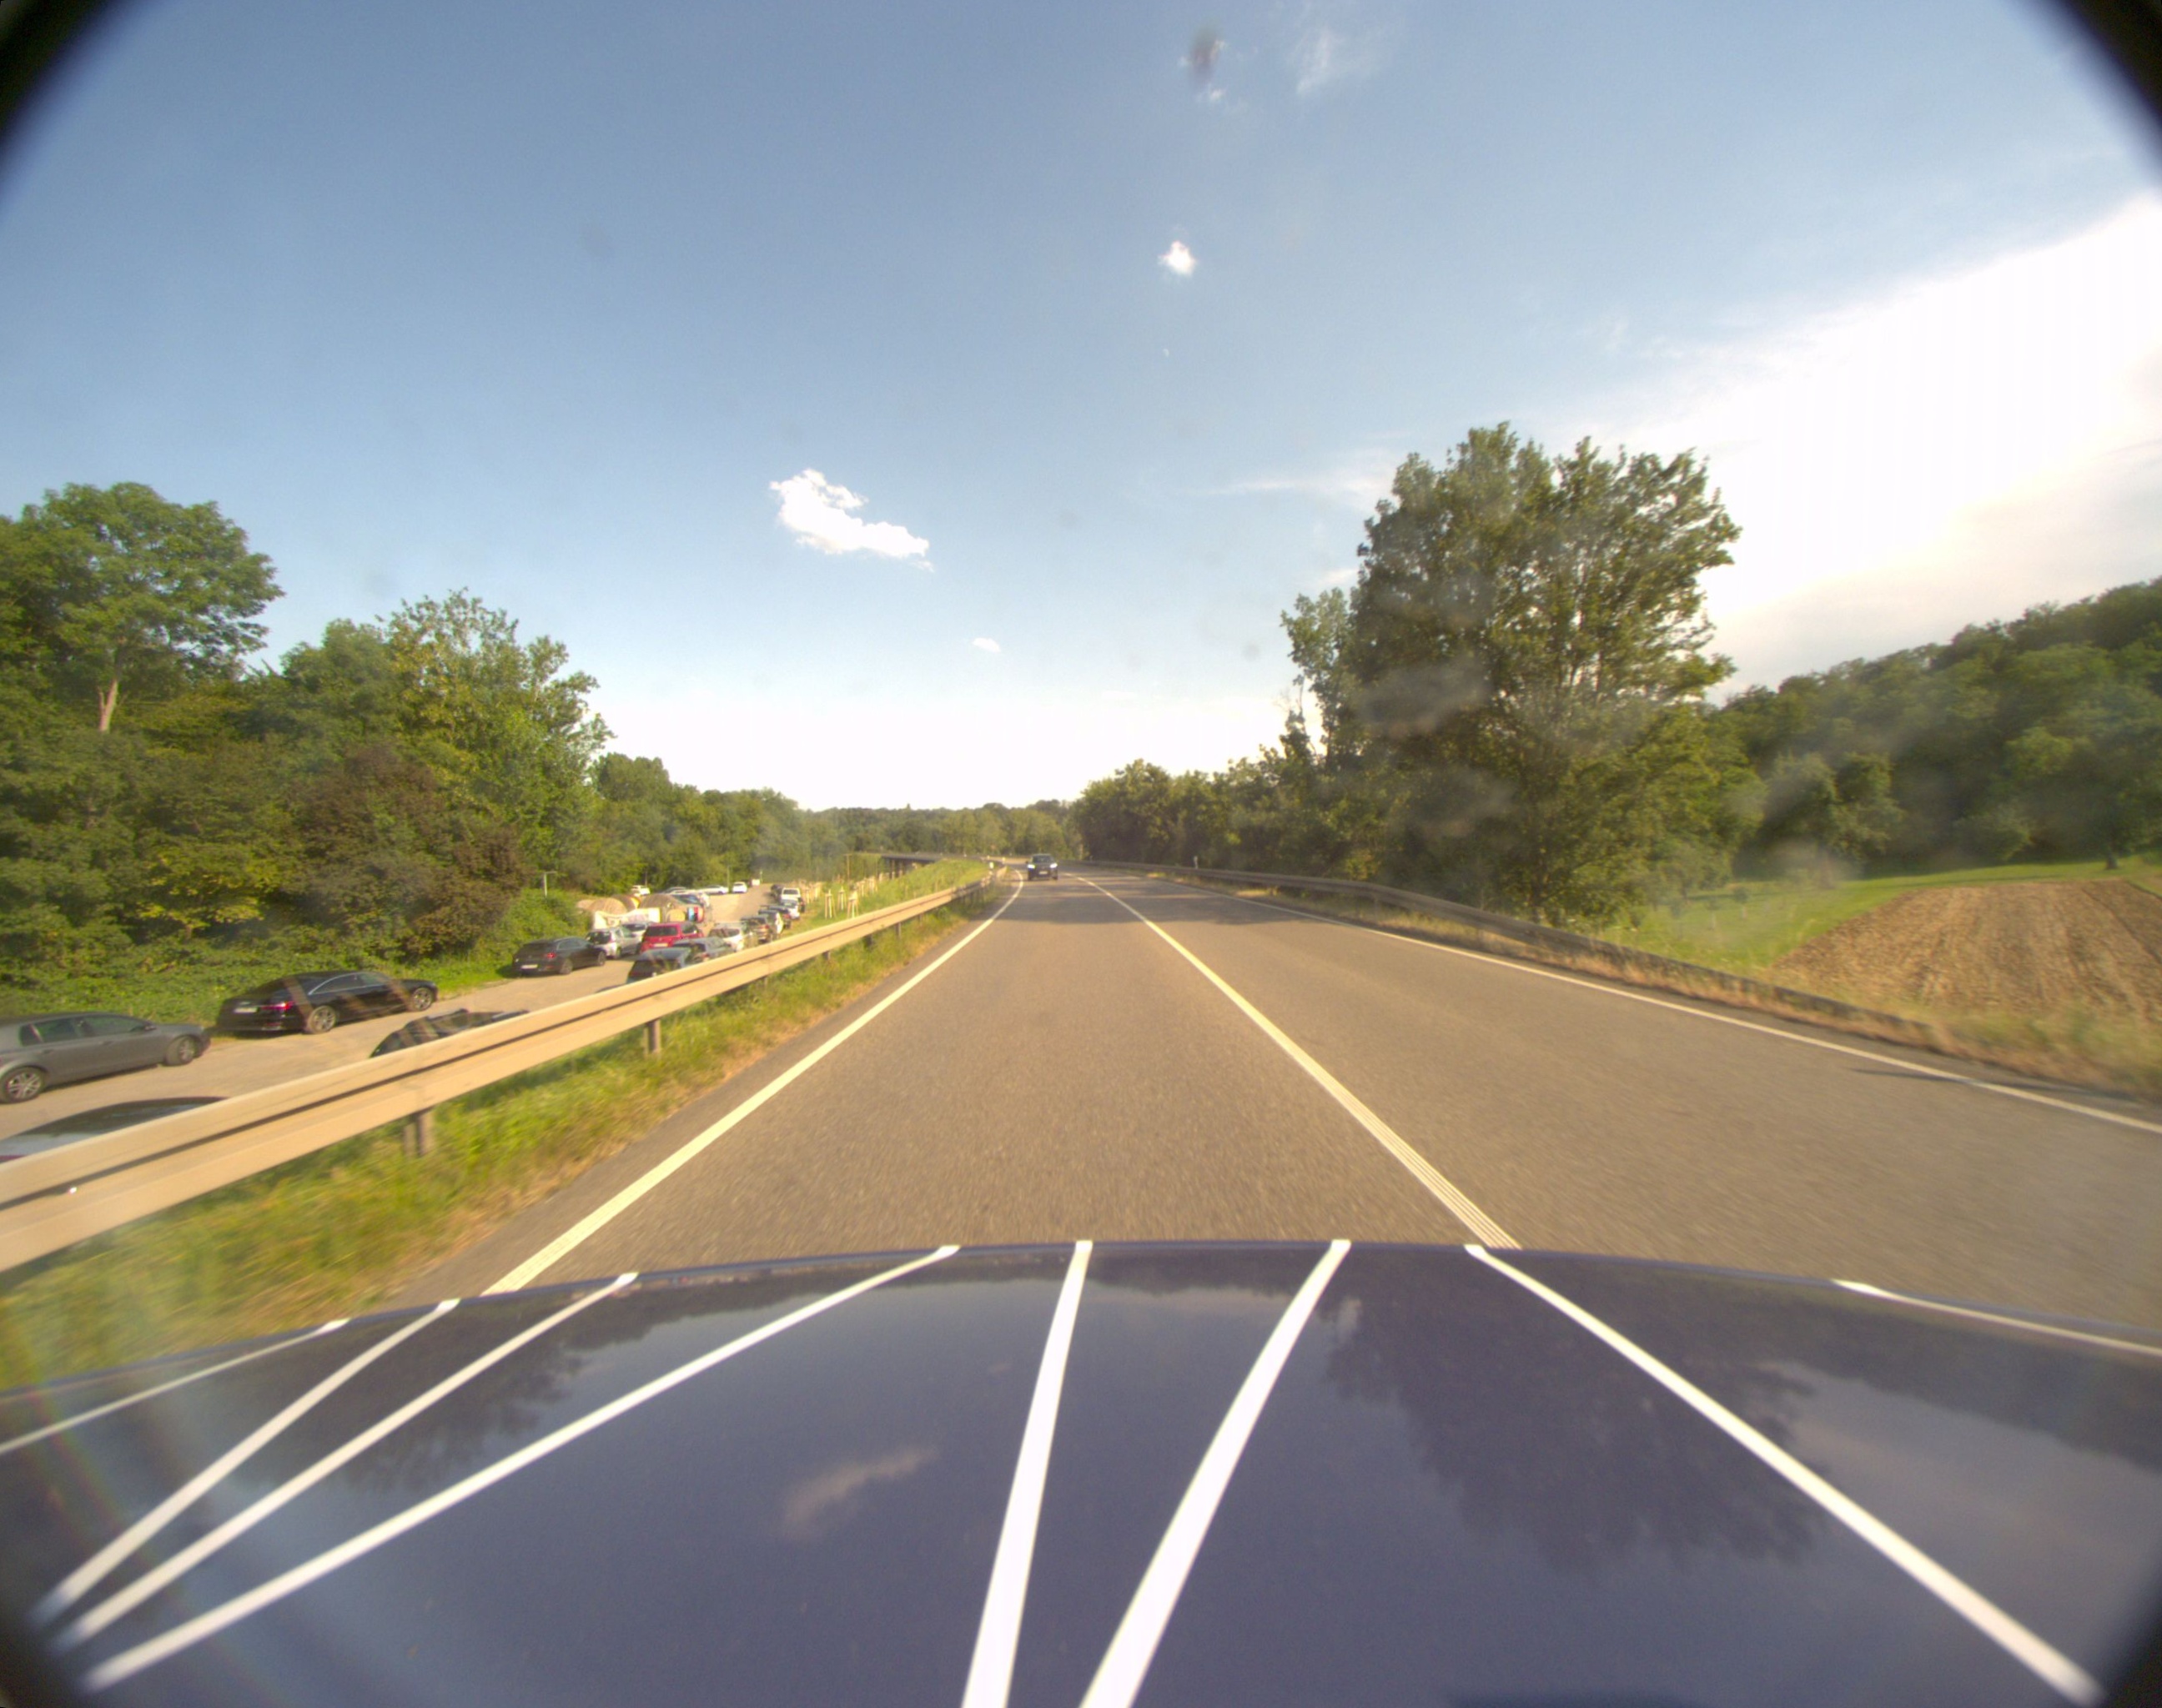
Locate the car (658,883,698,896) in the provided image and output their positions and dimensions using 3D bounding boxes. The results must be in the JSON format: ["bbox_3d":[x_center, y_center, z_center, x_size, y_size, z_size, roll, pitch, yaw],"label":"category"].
[{"bbox_3d":[-49.429,4.376,93.244,4.253,1.447,1.614,0,0,-29],"label":"car"}]

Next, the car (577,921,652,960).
[{"bbox_3d":[-22.248,4.116,36.397,1.707,1.390,3.941,2,0,-11],"label":"car"}]

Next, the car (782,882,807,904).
[{"bbox_3d":[-29.520,4.019,78.232,2.129,2.005,5.369,2,-2,-23],"label":"car"}]

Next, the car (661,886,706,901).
[{"bbox_3d":[-46.269,4.589,88.480,4.423,1.447,1.730,-1,0,-33],"label":"car"}]

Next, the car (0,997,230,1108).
[{"bbox_3d":[-20.096,3.873,15.012,1.704,1.390,4.103,2,-2,5],"label":"car"}]

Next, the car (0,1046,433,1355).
[{"bbox_3d":[-10.362,3.543,8.755,1.897,1.550,4.781,2,-2,-5],"label":"car"}]

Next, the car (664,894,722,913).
[{"bbox_3d":[-34.683,4.379,68.054,4.246,1.480,1.833,-2,-2,-8],"label":"car"}]

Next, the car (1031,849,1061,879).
[{"bbox_3d":[-2.190,0.601,47.554,1.751,1.645,4.303,-1,2,-3],"label":"car"}]

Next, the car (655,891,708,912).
[{"bbox_3d":[-38.105,4.501,72.553,4.251,1.595,1.830,-2,1,-23],"label":"car"}]

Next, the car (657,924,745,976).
[{"bbox_3d":[-14.973,3.760,30.233,1.899,1.550,4.778,2,-2,-12],"label":"car"}]

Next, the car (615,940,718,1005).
[{"bbox_3d":[-13.698,3.868,25.439,1.899,1.550,4.777,2,-2,-15],"label":"car"}]

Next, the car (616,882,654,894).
[{"bbox_3d":[-61.753,4.690,105.184,4.250,1.447,1.710,-1,0,-17],"label":"car"}]

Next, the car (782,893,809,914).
[{"bbox_3d":[-24.210,4.153,64.249,1.901,1.550,4.774,2,-2,-23],"label":"car"}]

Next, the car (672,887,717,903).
[{"bbox_3d":[-42.811,4.498,84.186,4.253,1.447,1.614,-2,1,-29],"label":"car"}]

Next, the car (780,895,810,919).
[{"bbox_3d":[-22.294,4.090,59.123,1.901,1.550,4.774,2,-2,-23],"label":"car"}]

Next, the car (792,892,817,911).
[{"bbox_3d":[-25.418,4.350,69.692,1.901,1.473,4.774,2,-2,-23],"label":"car"}]

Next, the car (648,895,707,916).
[{"bbox_3d":[-34.593,4.421,65.239,4.251,1.481,1.830,-2,1,-23],"label":"car"}]

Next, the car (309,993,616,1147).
[{"bbox_3d":[-10.754,3.695,13.819,1.897,1.550,4.781,2,-2,-5],"label":"car"}]

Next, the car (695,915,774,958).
[{"bbox_3d":[-16.294,3.850,36.011,1.897,1.550,4.780,-1,-1,-6],"label":"car"}]

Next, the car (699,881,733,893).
[{"bbox_3d":[-50.927,4.599,106.148,4.252,1.447,1.614,0,-1,-23],"label":"car"}]

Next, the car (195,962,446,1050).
[{"bbox_3d":[-20.170,3.964,20.538,1.704,1.390,4.787,2,0,5],"label":"car"}]

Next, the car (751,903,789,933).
[{"bbox_3d":[-19.382,3.951,47.503,1.900,1.550,4.775,2,-2,-20],"label":"car"}]

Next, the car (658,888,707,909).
[{"bbox_3d":[-39.771,4.418,75.852,4.253,1.732,1.829,-2,0,-28],"label":"car"}]

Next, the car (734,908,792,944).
[{"bbox_3d":[-17.293,3.885,41.578,1.898,1.550,4.779,-1,-1,-10],"label":"car"}]

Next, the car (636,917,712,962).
[{"bbox_3d":[-19.298,4.008,36.284,1.899,1.676,5.081,0,-1,-13],"label":"car"}]

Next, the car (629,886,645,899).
[{"bbox_3d":[-53.654,4.673,91.781,1.502,1.447,3.666,0,-1,-34],"label":"car"}]

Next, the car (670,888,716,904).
[{"bbox_3d":[-41.609,4.488,81.526,4.252,1.489,1.768,-2,0,-28],"label":"car"}]

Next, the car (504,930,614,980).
[{"bbox_3d":[-21.246,4.054,31.156,1.706,1.390,4.781,2,0,-8],"label":"car"}]

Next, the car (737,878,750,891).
[{"bbox_3d":[-50.104,4.561,112.801,1.662,1.657,4.699,-1,1,-22],"label":"car"}]

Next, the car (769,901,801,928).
[{"bbox_3d":[-20.722,4.206,53.378,1.900,1.550,4.775,2,-2,-20],"label":"car"}]

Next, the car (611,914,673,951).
[{"bbox_3d":[-23.219,4.139,40.325,1.707,1.501,3.940,-1,0,-13],"label":"car"}]
